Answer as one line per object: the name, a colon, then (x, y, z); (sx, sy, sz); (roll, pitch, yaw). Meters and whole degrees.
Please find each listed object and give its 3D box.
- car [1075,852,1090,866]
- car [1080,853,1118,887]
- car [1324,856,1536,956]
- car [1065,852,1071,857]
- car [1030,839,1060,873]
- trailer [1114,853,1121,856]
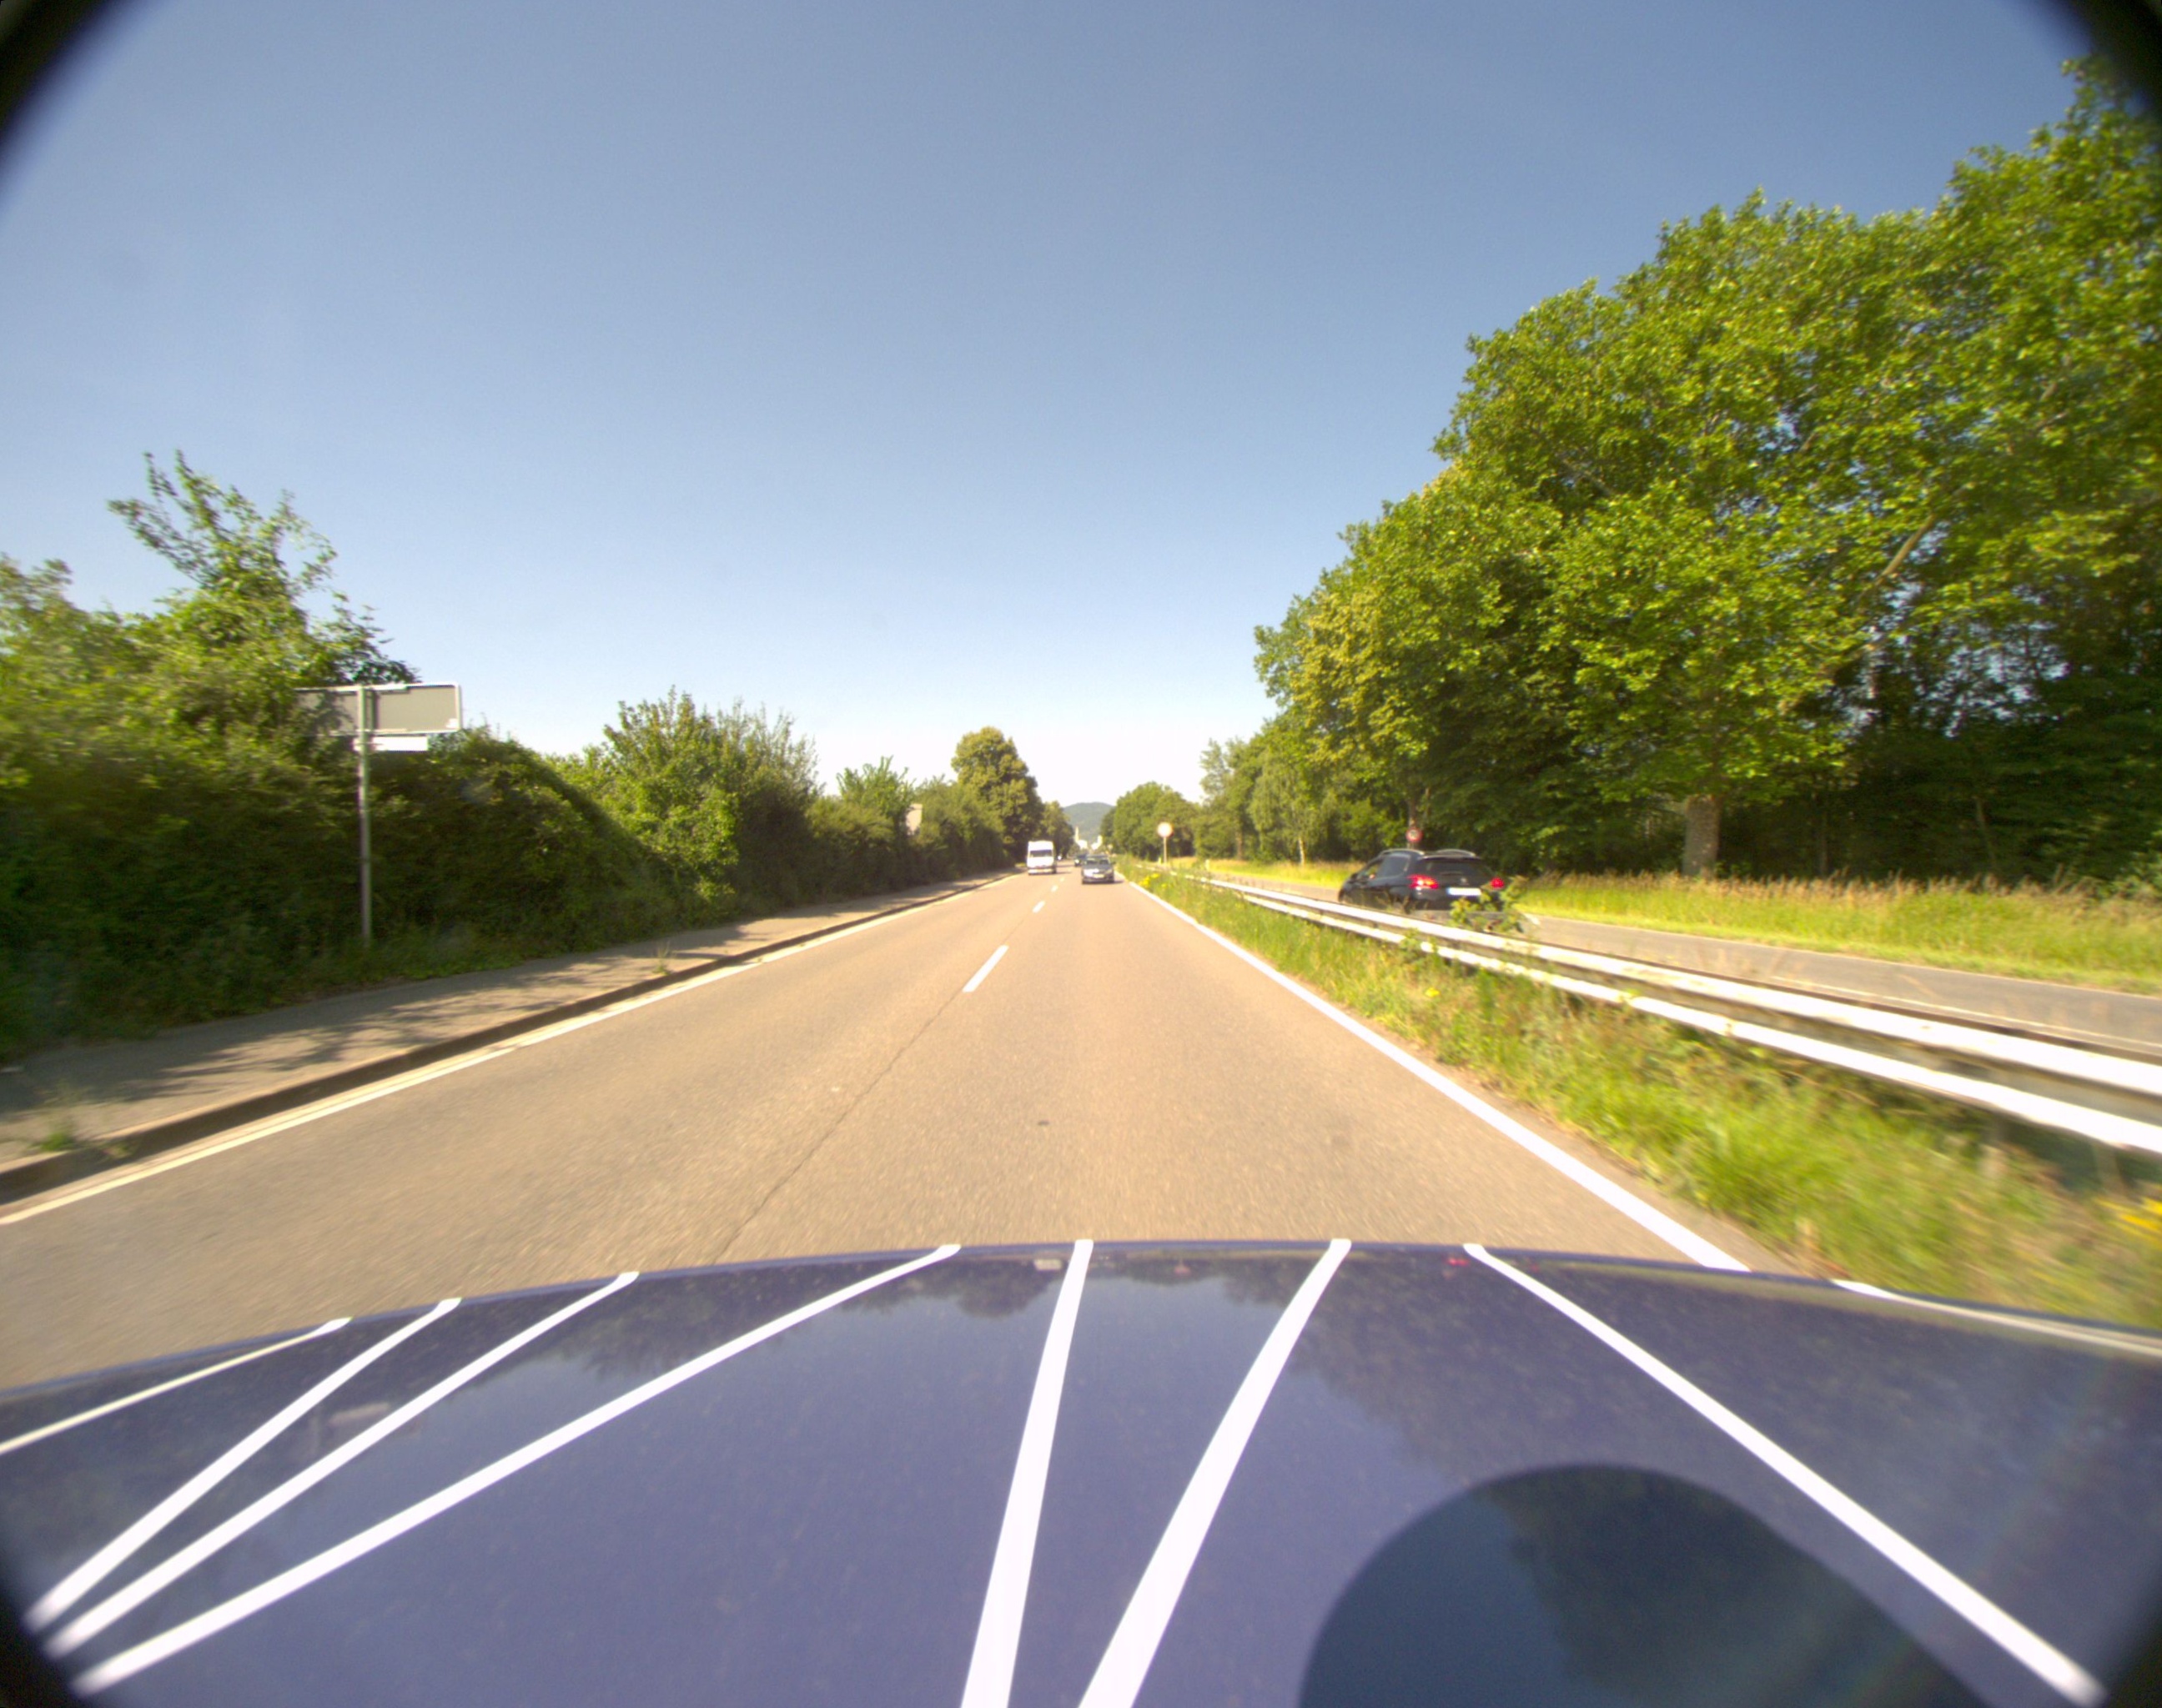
car: (0.173, 0.553, 85.214); (1.678, 1.435, 3.621); (-1, 1, 1)
car: (0.851, 0.740, 36.964); (1.678, 1.435, 4.361); (-1, 1, 1)
car: (6.170, 0.825, 14.066); (1.784, 1.521, 4.159); (1, 1, -4)
car: (-4.097, 0.223, 234.567); (1.825, 1.591, 4.000); (0, 0, 1)
car: (-2.659, 0.101, 57.253); (1.998, 2.433, 5.088); (-1, 1, 0)
trailer: (12.021, 0.014, 251.238); (1.969, 0.955, 5.597); (0, 0, 0)
